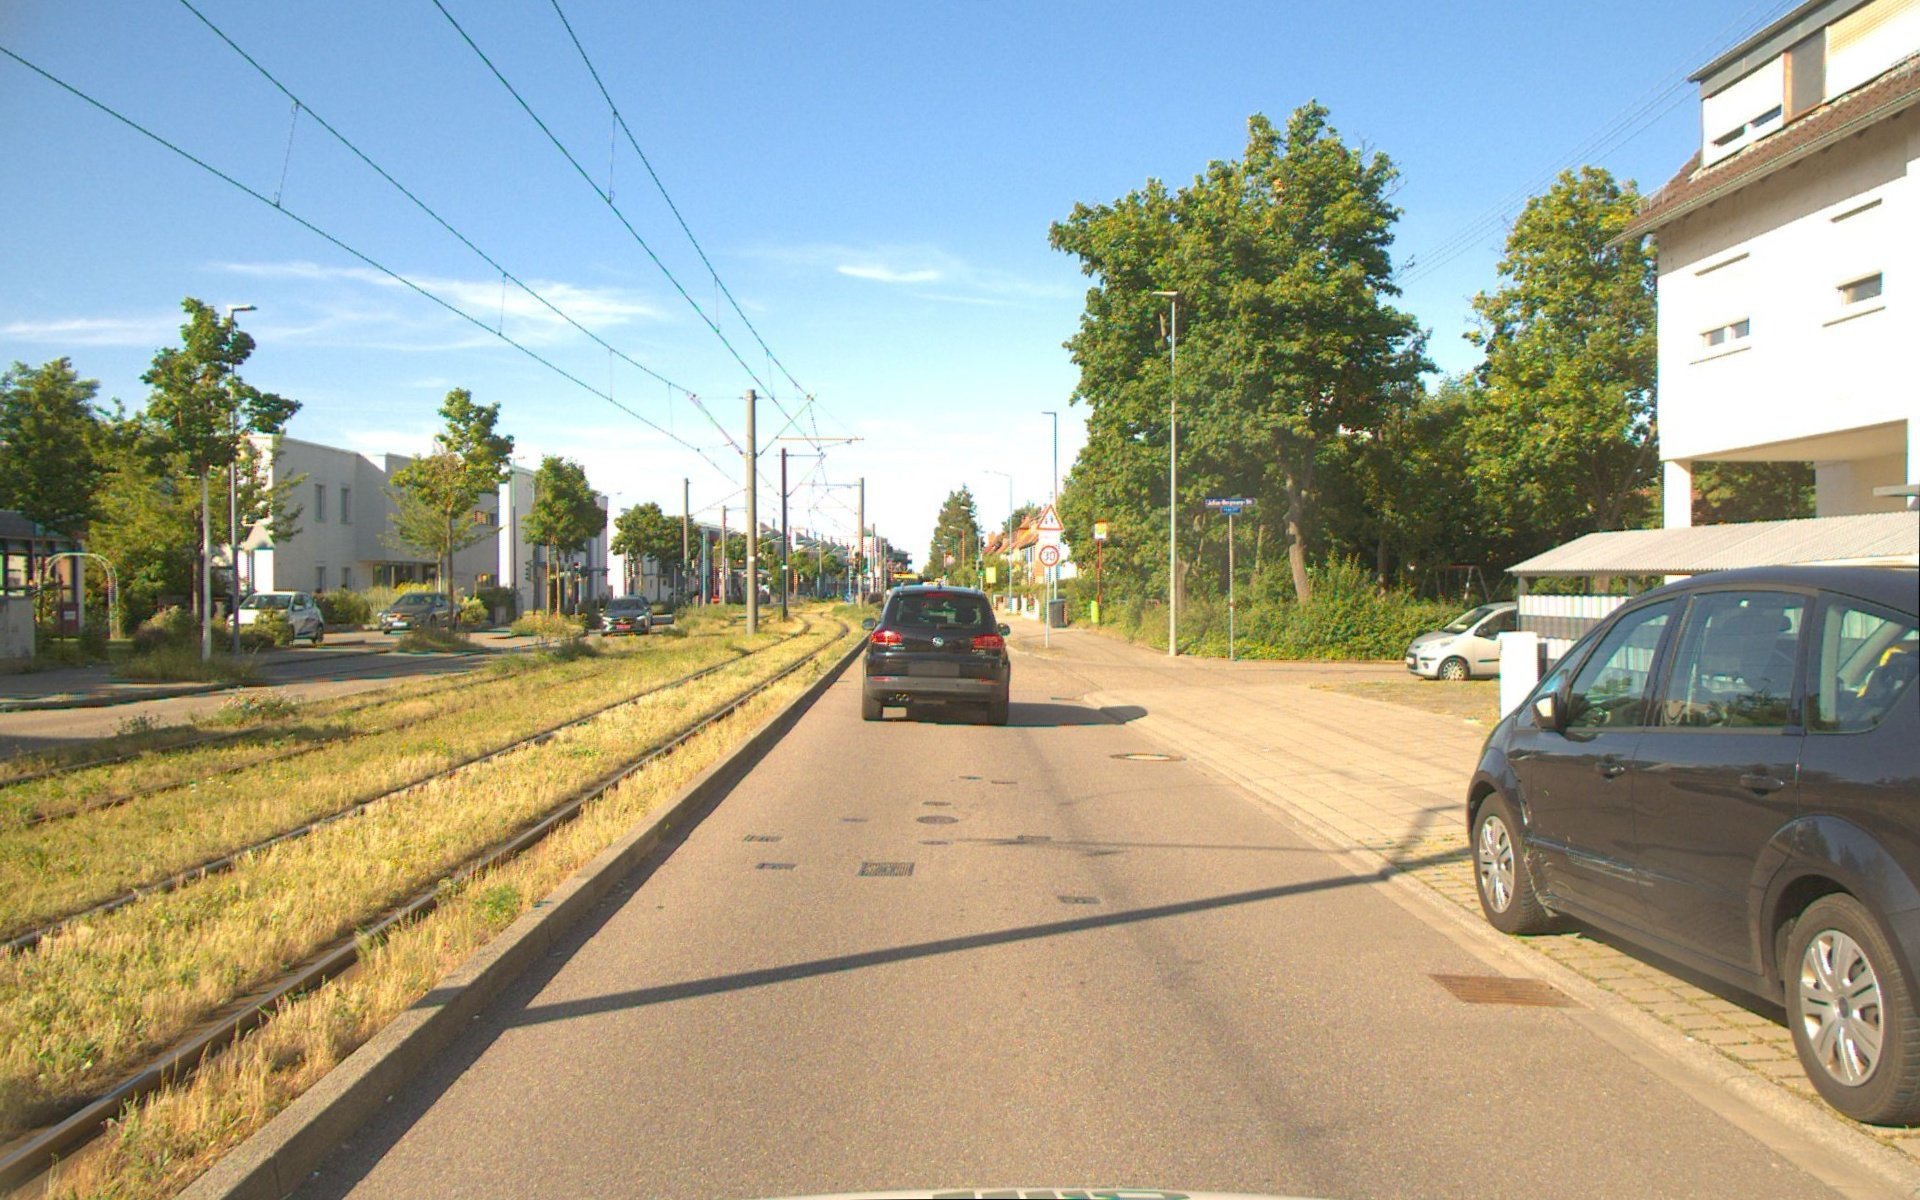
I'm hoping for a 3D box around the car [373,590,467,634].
[{"bbox_3d":[-19.407,0.416,59.602,1.773,1.486,4.319,1,0,3],"label":"car"}]

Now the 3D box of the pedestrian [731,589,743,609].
[{"bbox_3d":[-17.898,-0.102,132.564,0.868,1.614,0.624,0,0,-20],"label":"pedestrian"}]

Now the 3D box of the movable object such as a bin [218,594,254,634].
[{"bbox_3d":[-26.702,0.501,61.019,0.650,1.458,1.255,1,0,6],"label":"movable object such as a bin"}]

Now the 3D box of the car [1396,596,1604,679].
[{"bbox_3d":[10.499,0.716,32.316,3.521,1.557,1.647,-1,-1,0],"label":"car"}]

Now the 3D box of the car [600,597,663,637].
[{"bbox_3d":[-12.591,0.610,63.627,1.654,1.413,4.386,-2,0,-2],"label":"car"}]

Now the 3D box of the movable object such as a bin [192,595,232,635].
[{"bbox_3d":[-26.849,0.528,59.415,0.650,1.407,1.422,1,0,6],"label":"movable object such as a bin"}]

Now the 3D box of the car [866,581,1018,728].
[{"bbox_3d":[-0.319,0.633,21.338,1.740,1.699,3.997,1,0,-4],"label":"car"}]

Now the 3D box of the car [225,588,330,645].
[{"bbox_3d":[-19.078,0.445,46.383,1.513,1.517,3.773,1,0,-3],"label":"car"}]

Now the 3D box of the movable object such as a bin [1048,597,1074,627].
[{"bbox_3d":[3.908,0.442,64.158,0.955,1.130,1.171,-1,0,2],"label":"movable object such as a bin"}]

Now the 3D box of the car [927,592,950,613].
[{"bbox_3d":[-1.837,0.176,137.836,1.740,1.699,3.997,0,0,-4],"label":"car"}]

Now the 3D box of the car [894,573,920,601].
[{"bbox_3d":[-5.035,-1.249,158.028,2.345,2.609,5.529,0,0,0],"label":"car"}]

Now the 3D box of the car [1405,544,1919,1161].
[{"bbox_3d":[3.363,0.633,6.347,1.755,1.657,4.858,-3,1,-3],"label":"car"}]
